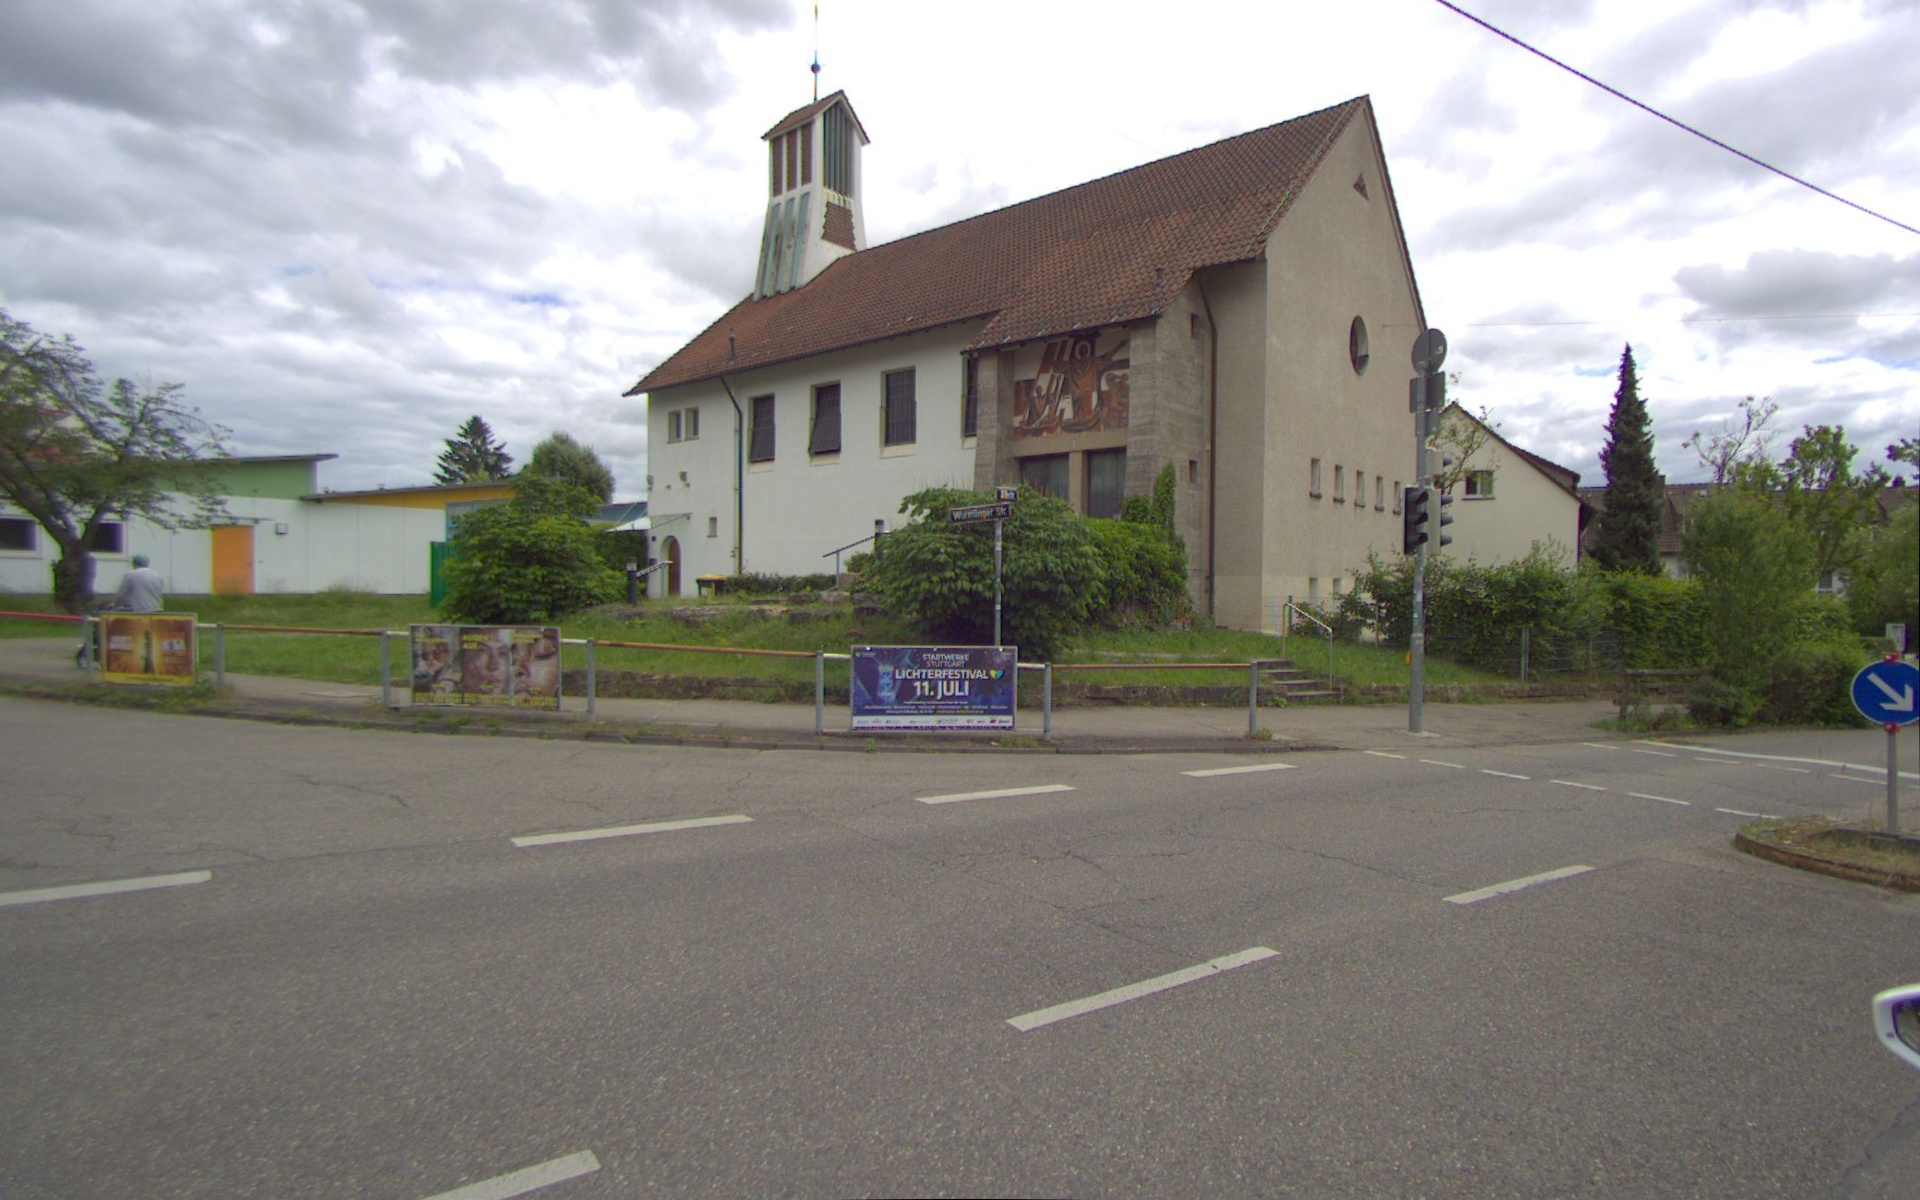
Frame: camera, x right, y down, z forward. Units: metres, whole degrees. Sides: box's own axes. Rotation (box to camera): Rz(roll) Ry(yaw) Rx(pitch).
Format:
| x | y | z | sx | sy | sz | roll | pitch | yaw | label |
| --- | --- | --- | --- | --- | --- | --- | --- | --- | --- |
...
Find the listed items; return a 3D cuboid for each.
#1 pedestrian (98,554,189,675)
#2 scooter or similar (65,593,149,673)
| x | y | z | sx | sy | sz | roll | pitch | yaw | label |
| --- | --- | --- | --- | --- | --- | --- | --- | --- | --- |
| -11.881 | 0.197 | 14.618 | 0.815 | 1.675 | 0.689 | 3 | 2 | 21 | pedestrian |
| -12.698 | 0.474 | 14.957 | 0.872 | 1.109 | 0.612 | 3 | 2 | 21 | scooter or similar |
